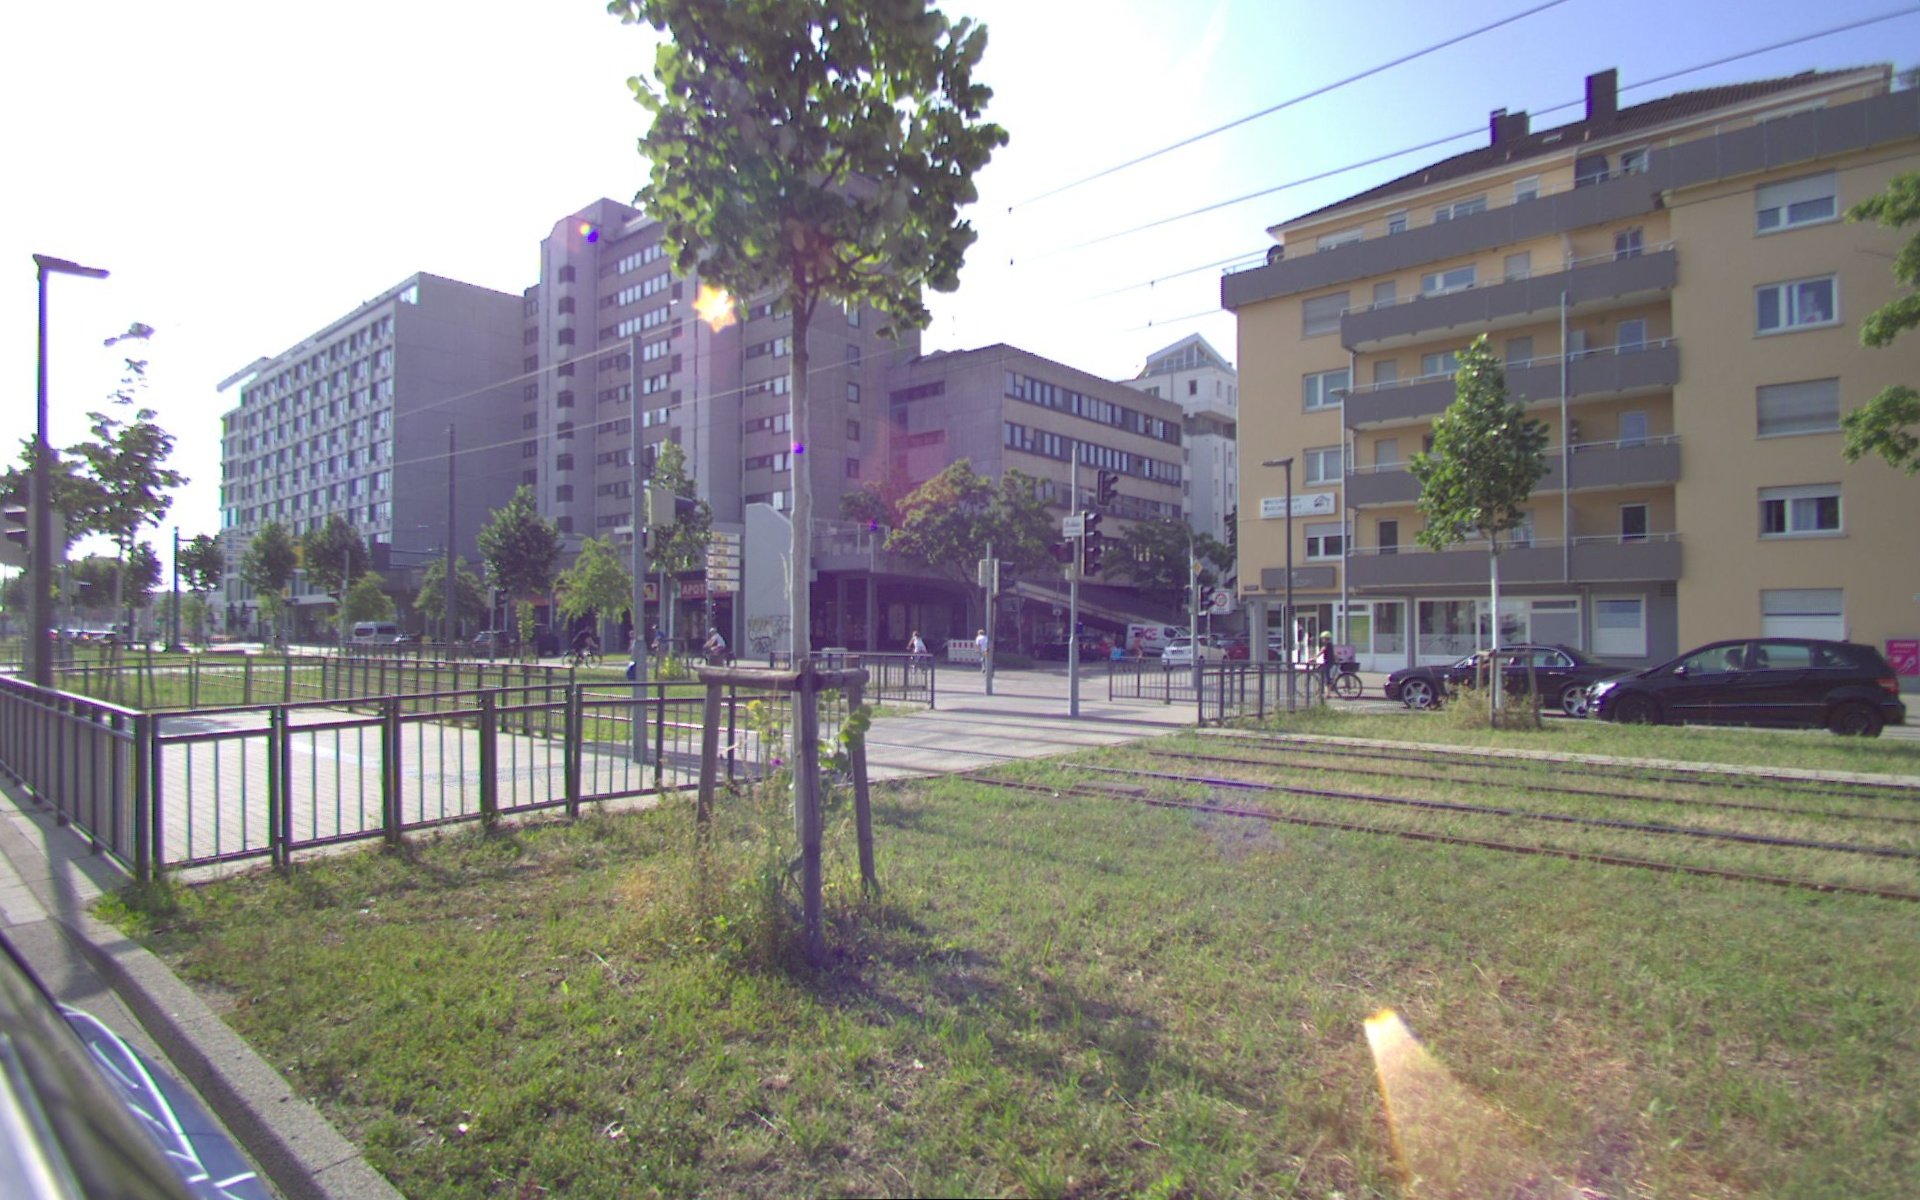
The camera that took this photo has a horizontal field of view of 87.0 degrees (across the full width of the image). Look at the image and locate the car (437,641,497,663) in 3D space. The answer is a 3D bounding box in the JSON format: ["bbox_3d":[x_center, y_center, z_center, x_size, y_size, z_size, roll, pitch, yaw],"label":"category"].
[{"bbox_3d":[-32.128,3.371,66.116,1.854,1.253,4.109,-1,0,1],"label":"car"}]

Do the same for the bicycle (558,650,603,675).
[{"bbox_3d":[-15.374,2.528,41.013,1.588,0.942,0.558,6,-7,-44],"label":"bicycle"}]

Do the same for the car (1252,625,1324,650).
[{"bbox_3d":[24.784,2.785,76.496,4.768,1.833,1.972,-2,-2,41],"label":"car"}]

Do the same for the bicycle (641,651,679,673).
[{"bbox_3d":[-13.991,2.894,47.214,0.684,0.998,1.646,-2,-3,38],"label":"bicycle"}]

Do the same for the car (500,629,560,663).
[{"bbox_3d":[-26.305,2.794,62.120,1.854,1.983,4.109,0,-2,1],"label":"car"}]

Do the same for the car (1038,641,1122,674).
[{"bbox_3d":[6.709,3.205,56.891,4.375,1.640,1.891,-1,0,38],"label":"car"}]

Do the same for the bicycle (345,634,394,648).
[{"bbox_3d":[-57.683,3.970,98.903,3.936,1.377,1.128,2,-3,-40],"label":"bicycle"}]

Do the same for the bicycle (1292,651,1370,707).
[{"bbox_3d":[9.532,2.011,26.042,1.754,1.356,0.688,-1,-2,36],"label":"bicycle"}]

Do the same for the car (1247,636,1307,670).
[{"bbox_3d":[16.007,2.652,50.979,1.811,1.616,3.905,-1,-2,35],"label":"car"}]

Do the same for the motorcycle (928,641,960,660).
[{"bbox_3d":[-0.910,2.828,56.940,1.945,1.025,0.487,-2,-3,42],"label":"motorcycle"}]

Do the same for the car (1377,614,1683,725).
[{"bbox_3d":[11.750,1.357,21.101,5.297,2.029,1.974,-2,-2,39],"label":"car"}]

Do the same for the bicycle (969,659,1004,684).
[{"bbox_3d":[0.960,2.597,36.947,0.708,0.804,1.609,-1,0,-21],"label":"bicycle"}]

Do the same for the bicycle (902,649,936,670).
[{"bbox_3d":[-1.641,2.354,40.047,0.618,0.799,2.009,1,-2,-24],"label":"bicycle"}]

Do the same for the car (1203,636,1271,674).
[{"bbox_3d":[12.926,2.526,47.136,1.772,1.701,3.751,-2,-2,38],"label":"car"}]

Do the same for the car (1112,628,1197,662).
[{"bbox_3d":[11.920,2.714,62.275,4.830,1.983,1.973,-1,-2,41],"label":"car"}]

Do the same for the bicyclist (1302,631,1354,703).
[{"bbox_3d":[9.481,1.710,26.083,1.081,1.819,0.663,-1,-2,36],"label":"bicyclist"}]

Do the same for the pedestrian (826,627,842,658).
[{"bbox_3d":[-7.359,2.496,59.190,0.622,1.790,0.692,-1,-3,28],"label":"pedestrian"}]

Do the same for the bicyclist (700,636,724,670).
[{"bbox_3d":[-10.382,2.222,42.330,0.897,1.396,0.705,1,-4,-20],"label":"bicyclist"}]

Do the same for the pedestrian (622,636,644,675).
[{"bbox_3d":[-14.417,2.425,44.621,0.646,1.703,0.651,-2,-3,44],"label":"pedestrian"}]

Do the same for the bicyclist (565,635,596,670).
[{"bbox_3d":[-15.375,2.140,41.031,0.959,1.406,0.546,6,-7,-44],"label":"bicyclist"}]

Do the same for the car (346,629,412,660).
[{"bbox_3d":[-44.247,3.353,77.175,1.859,2.326,5.406,0,-2,1],"label":"car"}]

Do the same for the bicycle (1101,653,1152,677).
[{"bbox_3d":[7.300,2.831,44.238,0.899,0.973,2.959,-2,-3,38],"label":"bicycle"}]

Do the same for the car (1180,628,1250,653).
[{"bbox_3d":[16.802,2.651,66.689,3.998,1.630,1.972,-2,-2,41],"label":"car"}]

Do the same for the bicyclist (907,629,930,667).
[{"bbox_3d":[-1.644,1.895,40.043,0.610,1.511,0.990,1,-2,-24],"label":"bicyclist"}]

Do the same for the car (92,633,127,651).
[{"bbox_3d":[-71.965,3.535,85.639,4.001,1.492,1.787,-2,-3,44],"label":"car"}]

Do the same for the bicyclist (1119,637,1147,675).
[{"bbox_3d":[7.652,2.468,44.692,0.891,1.641,0.881,-2,-3,39],"label":"bicyclist"}]

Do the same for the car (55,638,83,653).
[{"bbox_3d":[-90.912,4.668,103.250,4.001,1.486,1.787,-2,-3,44],"label":"car"}]

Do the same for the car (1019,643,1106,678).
[{"bbox_3d":[5.515,3.233,54.774,4.375,1.640,1.891,-1,0,38],"label":"car"}]

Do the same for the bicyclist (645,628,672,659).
[{"bbox_3d":[-14.058,2.014,47.157,0.684,1.451,1.011,-2,-3,38],"label":"bicyclist"}]

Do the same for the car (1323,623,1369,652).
[{"bbox_3d":[27.078,2.624,70.905,1.810,2.029,3.947,-2,-3,40],"label":"car"}]

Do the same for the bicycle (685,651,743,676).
[{"bbox_3d":[-10.284,2.647,42.325,2.306,1.007,0.710,1,-2,-20],"label":"bicycle"}]

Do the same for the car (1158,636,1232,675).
[{"bbox_3d":[10.140,2.361,43.481,1.706,1.596,3.589,-5,-4,37],"label":"car"}]

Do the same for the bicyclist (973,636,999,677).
[{"bbox_3d":[0.941,2.058,36.979,0.676,1.451,0.808,-1,0,-21],"label":"bicyclist"}]

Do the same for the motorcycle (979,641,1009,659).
[{"bbox_3d":[2.022,2.975,60.070,1.945,1.025,0.487,-2,-3,42],"label":"motorcycle"}]

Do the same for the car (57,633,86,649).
[{"bbox_3d":[-86.866,3.997,98.956,4.001,1.586,1.787,-2,-3,44],"label":"car"}]

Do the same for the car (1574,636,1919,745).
[{"bbox_3d":[12.736,1.370,16.541,4.393,1.524,1.974,-2,-2,39],"label":"car"}]

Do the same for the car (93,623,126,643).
[{"bbox_3d":[-97.814,3.844,116.424,5.331,2.256,2.025,-2,-2,40],"label":"car"}]

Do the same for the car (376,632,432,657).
[{"bbox_3d":[-39.664,3.148,72.341,2.070,1.594,4.005,-2,-1,-6],"label":"car"}]

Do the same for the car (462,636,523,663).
[{"bbox_3d":[-29.426,3.102,63.778,1.854,1.618,4.109,0,-2,1],"label":"car"}]
